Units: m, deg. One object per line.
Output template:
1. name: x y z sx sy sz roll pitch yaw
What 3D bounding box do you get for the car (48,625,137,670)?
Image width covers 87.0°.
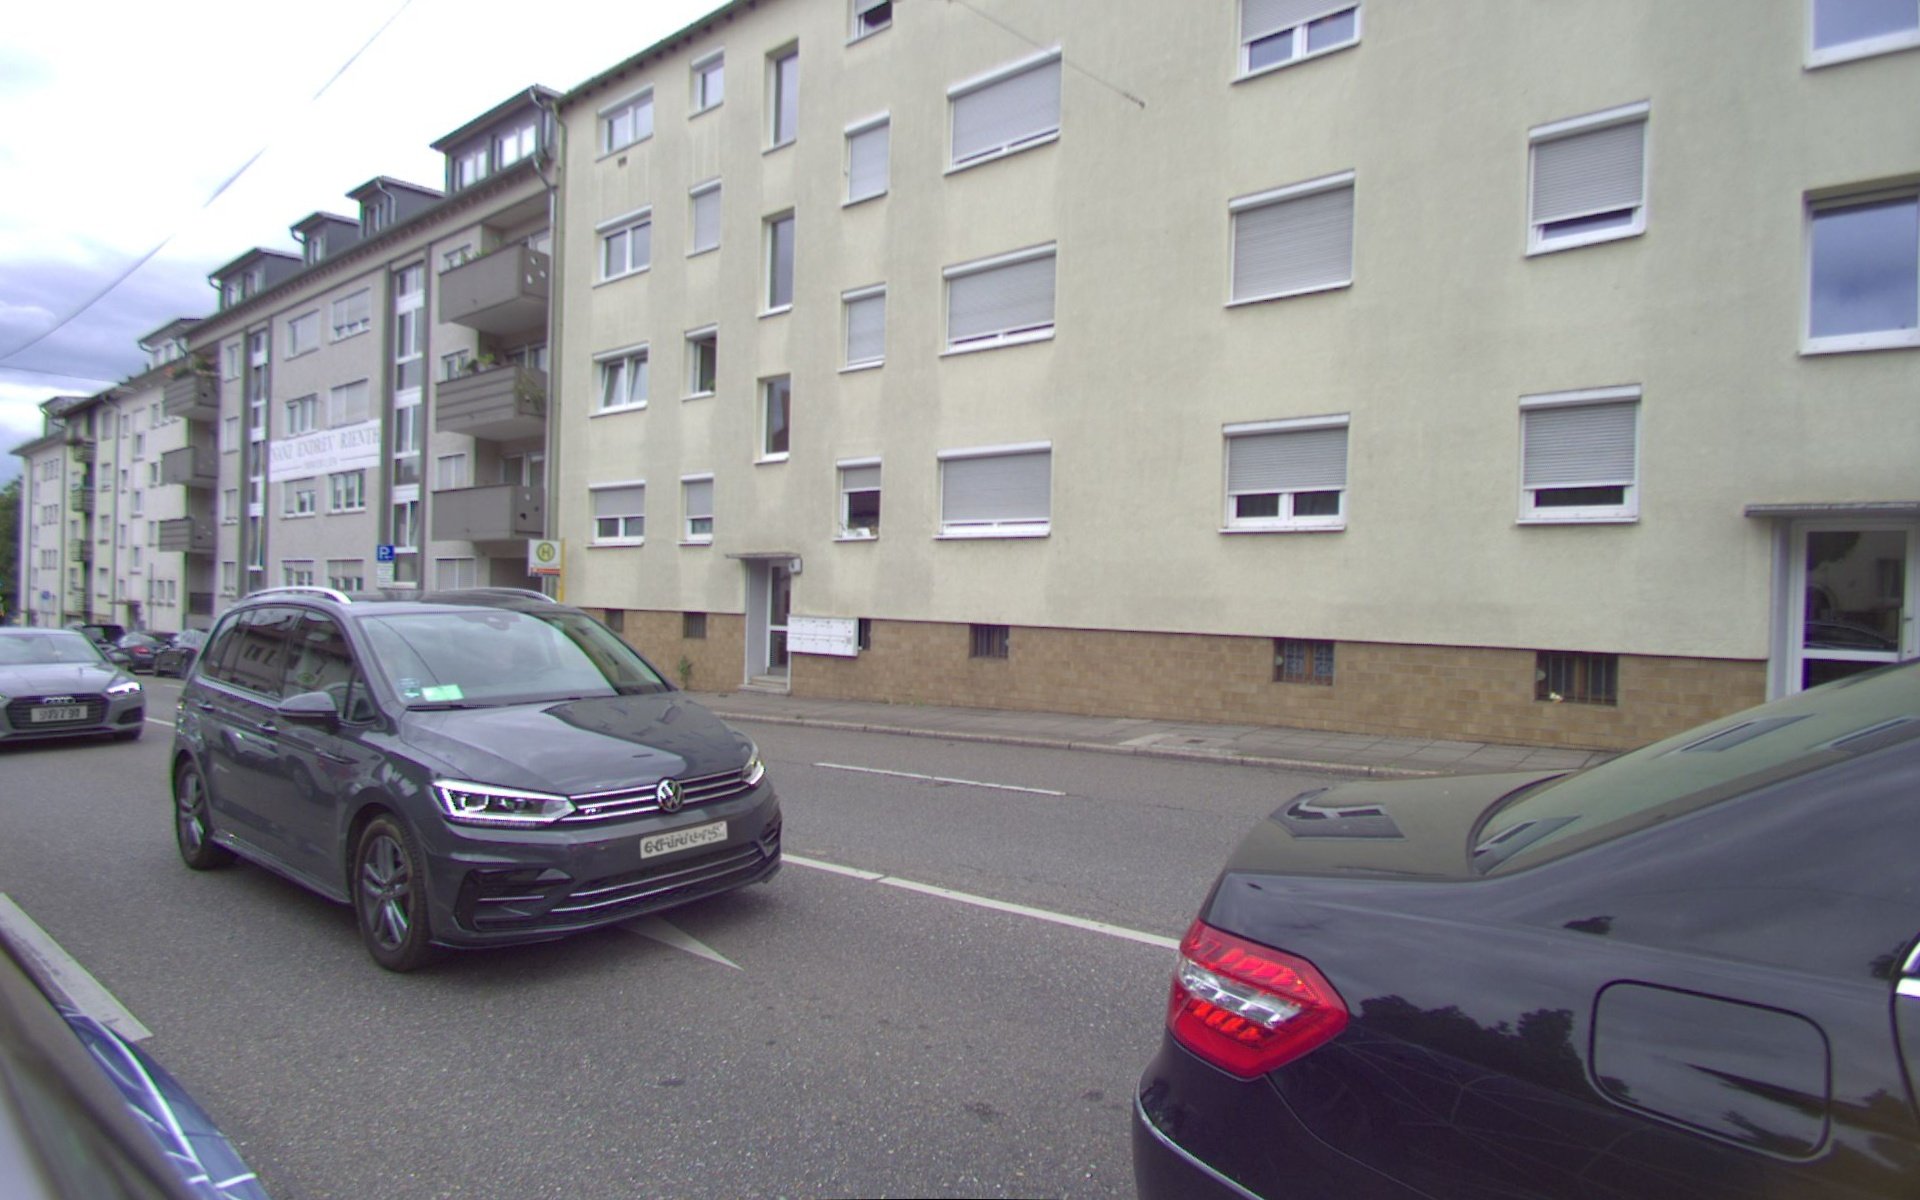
1. car: -33.144 1.801 38.649 3.533 1.613 1.755 -1 -3 36

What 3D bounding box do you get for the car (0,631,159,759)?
1. car: -11.617 1.069 12.486 4.142 1.365 1.858 -1 -2 39

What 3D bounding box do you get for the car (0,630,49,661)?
1. car: -46.181 2.200 49.412 3.752 1.414 1.755 -1 -3 36

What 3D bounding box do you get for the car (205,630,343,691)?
1. car: -17.593 1.514 25.919 3.680 1.422 1.755 -1 -3 36

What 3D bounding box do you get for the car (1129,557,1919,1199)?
1. car: 2.722 0.649 0.671 4.840 1.439 1.973 -2 -1 41

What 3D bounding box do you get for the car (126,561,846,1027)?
1. car: -2.883 0.691 5.650 4.474 1.623 1.840 -1 0 38

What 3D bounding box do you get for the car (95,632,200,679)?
1. car: -26.244 1.760 32.669 3.533 1.414 1.755 -1 -3 36

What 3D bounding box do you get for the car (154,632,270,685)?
1. car: -21.456 1.648 29.005 3.533 1.386 1.649 -1 -3 36
